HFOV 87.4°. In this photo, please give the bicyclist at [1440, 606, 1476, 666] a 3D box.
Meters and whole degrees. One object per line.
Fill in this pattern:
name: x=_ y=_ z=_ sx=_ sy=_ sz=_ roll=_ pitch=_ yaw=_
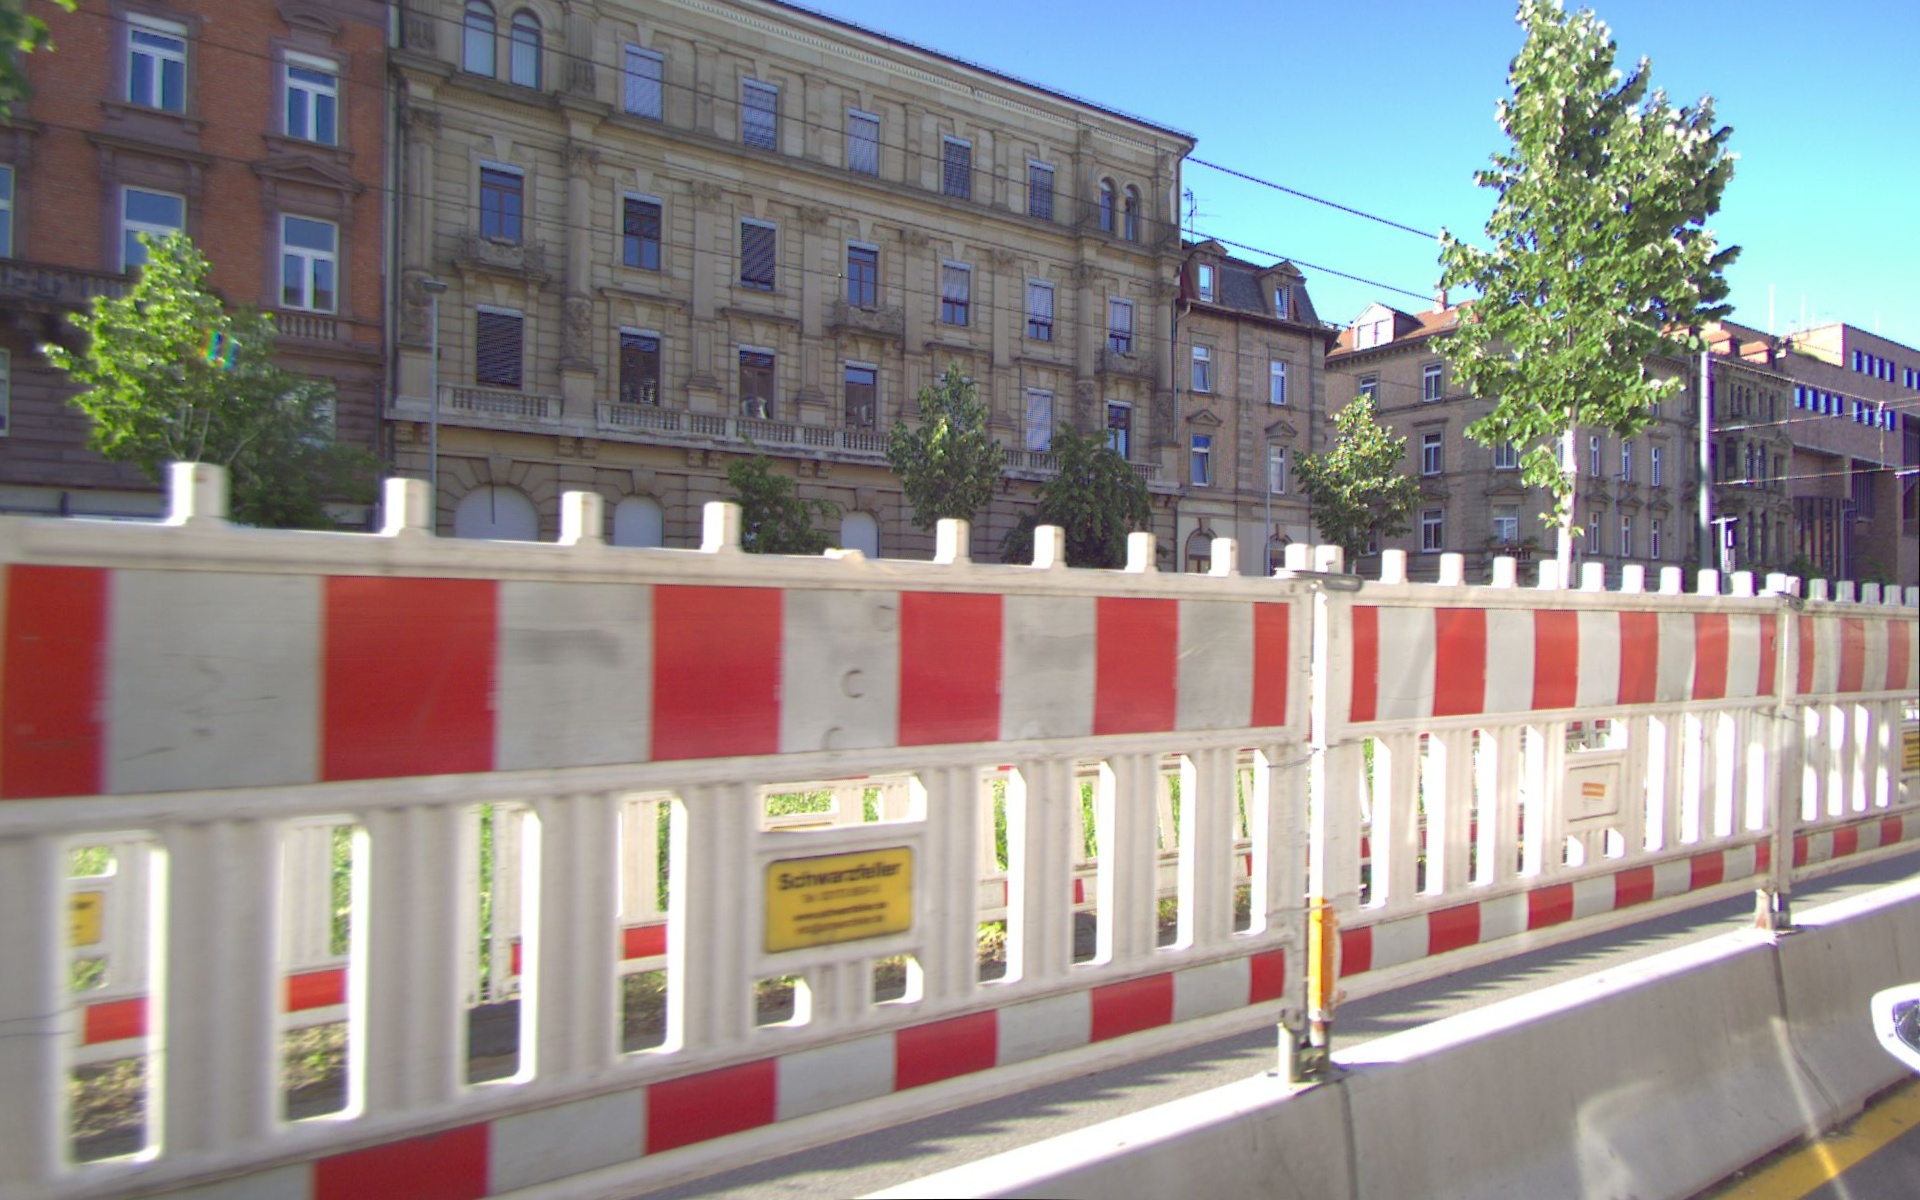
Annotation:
bicyclist: x=15.170 y=1.098 z=30.611 sx=0.870 sy=1.797 sz=0.853 roll=0 pitch=-1 yaw=35
